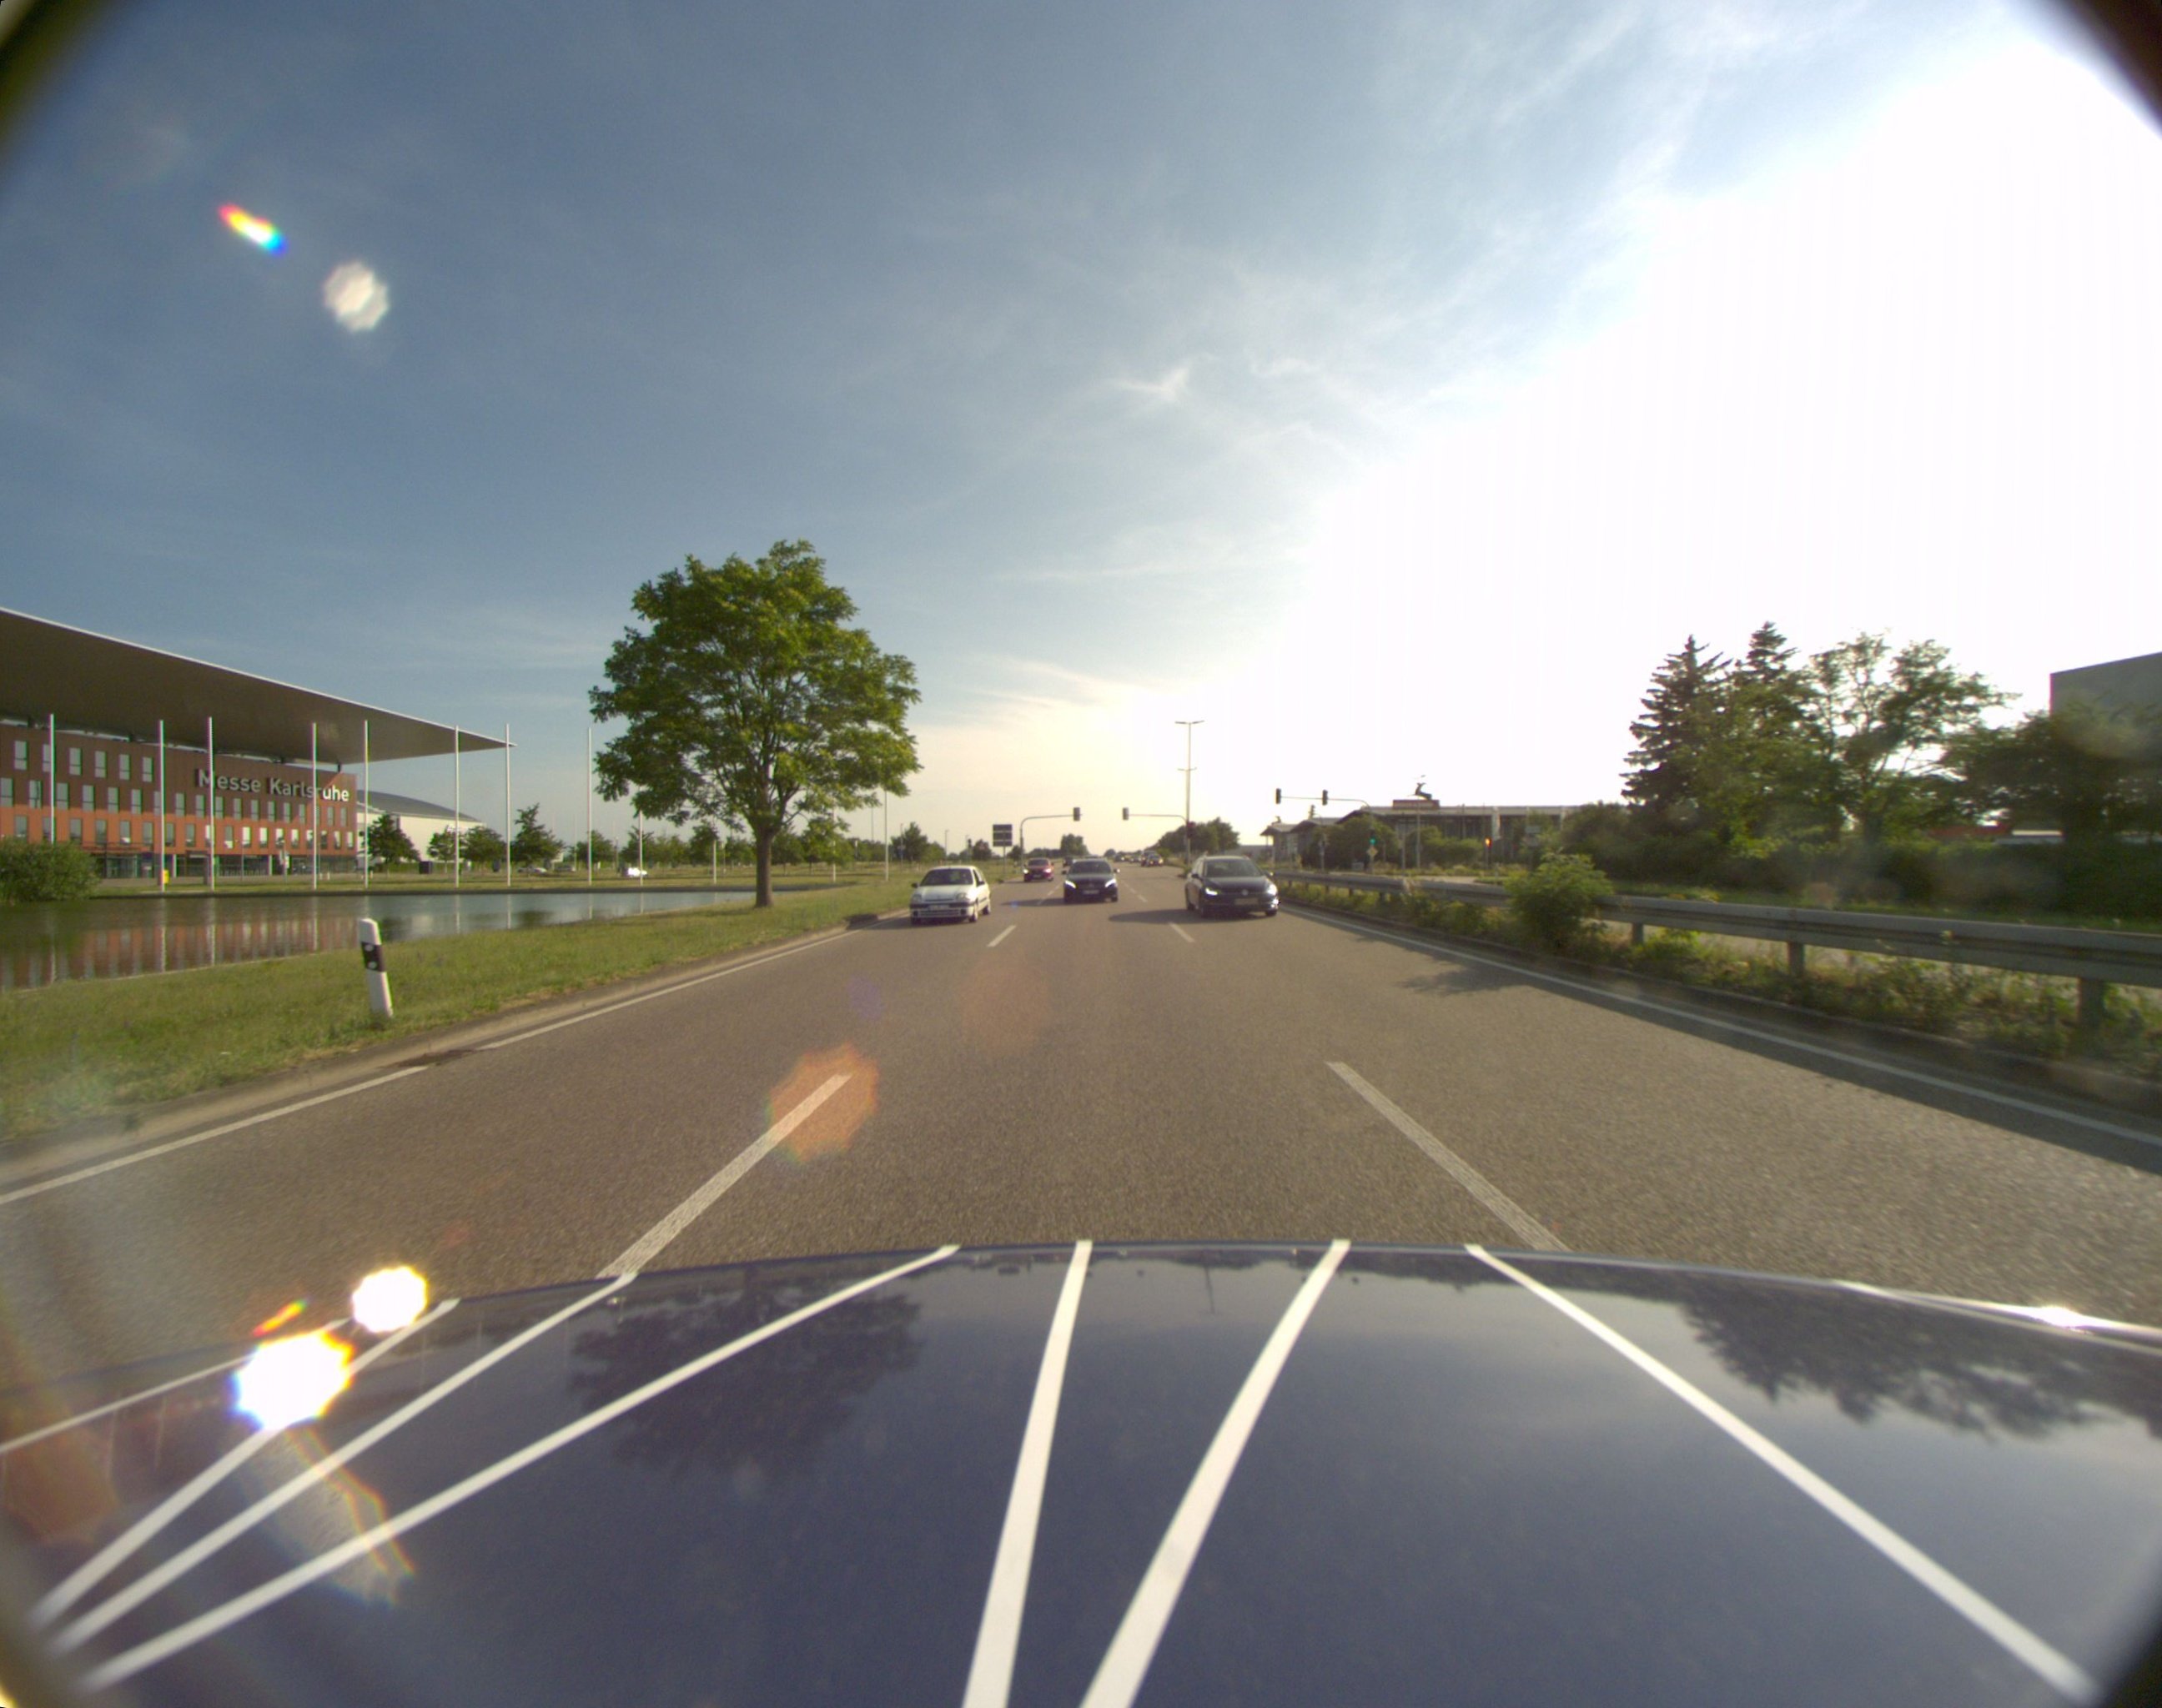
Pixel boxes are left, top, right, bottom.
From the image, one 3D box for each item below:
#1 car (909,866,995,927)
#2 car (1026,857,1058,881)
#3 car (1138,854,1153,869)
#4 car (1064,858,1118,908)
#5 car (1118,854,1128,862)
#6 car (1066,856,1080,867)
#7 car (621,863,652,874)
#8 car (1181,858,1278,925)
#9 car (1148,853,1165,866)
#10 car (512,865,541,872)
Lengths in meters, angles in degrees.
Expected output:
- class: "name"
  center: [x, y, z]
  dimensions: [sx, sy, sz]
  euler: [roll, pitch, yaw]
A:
- class: "car"
  center: [-3.279, 1.038, 19.866]
  dimensions: [1.578, 1.370, 3.452]
  euler: [-1, 0, 1]
- class: "car"
  center: [-2.513, 0.940, 49.399]
  dimensions: [1.751, 1.512, 3.740]
  euler: [-1, 0, 1]
- class: "car"
  center: [8.207, 0.920, 96.593]
  dimensions: [1.650, 1.823, 4.226]
  euler: [-1, 0, 1]
- class: "car"
  center: [0.358, 0.875, 25.103]
  dimensions: [1.576, 1.462, 5.023]
  euler: [-1, 0, 1]
- class: "car"
  center: [8.539, 0.786, 154.437]
  dimensions: [1.751, 1.512, 3.739]
  euler: [-1, 0, -1]
- class: "car"
  center: [-1.110, 1.019, 107.773]
  dimensions: [1.751, 1.512, 3.740]
  euler: [-1, 0, 1]
- class: "car"
  center: [-61.749, 2.049, 105.613]
  dimensions: [1.709, 1.447, 3.568]
  euler: [-1, 0, 13]
- class: "car"
  center: [3.677, 0.857, 19.590]
  dimensions: [1.650, 1.462, 4.776]
  euler: [-1, 0, 1]
- class: "car"
  center: [8.911, 0.663, 89.707]
  dimensions: [1.711, 1.428, 3.565]
  euler: [-1, 0, 1]
- class: "car"
  center: [-102.948, 2.682, 140.978]
  dimensions: [4.209, 1.272, 1.486]
  euler: [-1, 0, -2]
